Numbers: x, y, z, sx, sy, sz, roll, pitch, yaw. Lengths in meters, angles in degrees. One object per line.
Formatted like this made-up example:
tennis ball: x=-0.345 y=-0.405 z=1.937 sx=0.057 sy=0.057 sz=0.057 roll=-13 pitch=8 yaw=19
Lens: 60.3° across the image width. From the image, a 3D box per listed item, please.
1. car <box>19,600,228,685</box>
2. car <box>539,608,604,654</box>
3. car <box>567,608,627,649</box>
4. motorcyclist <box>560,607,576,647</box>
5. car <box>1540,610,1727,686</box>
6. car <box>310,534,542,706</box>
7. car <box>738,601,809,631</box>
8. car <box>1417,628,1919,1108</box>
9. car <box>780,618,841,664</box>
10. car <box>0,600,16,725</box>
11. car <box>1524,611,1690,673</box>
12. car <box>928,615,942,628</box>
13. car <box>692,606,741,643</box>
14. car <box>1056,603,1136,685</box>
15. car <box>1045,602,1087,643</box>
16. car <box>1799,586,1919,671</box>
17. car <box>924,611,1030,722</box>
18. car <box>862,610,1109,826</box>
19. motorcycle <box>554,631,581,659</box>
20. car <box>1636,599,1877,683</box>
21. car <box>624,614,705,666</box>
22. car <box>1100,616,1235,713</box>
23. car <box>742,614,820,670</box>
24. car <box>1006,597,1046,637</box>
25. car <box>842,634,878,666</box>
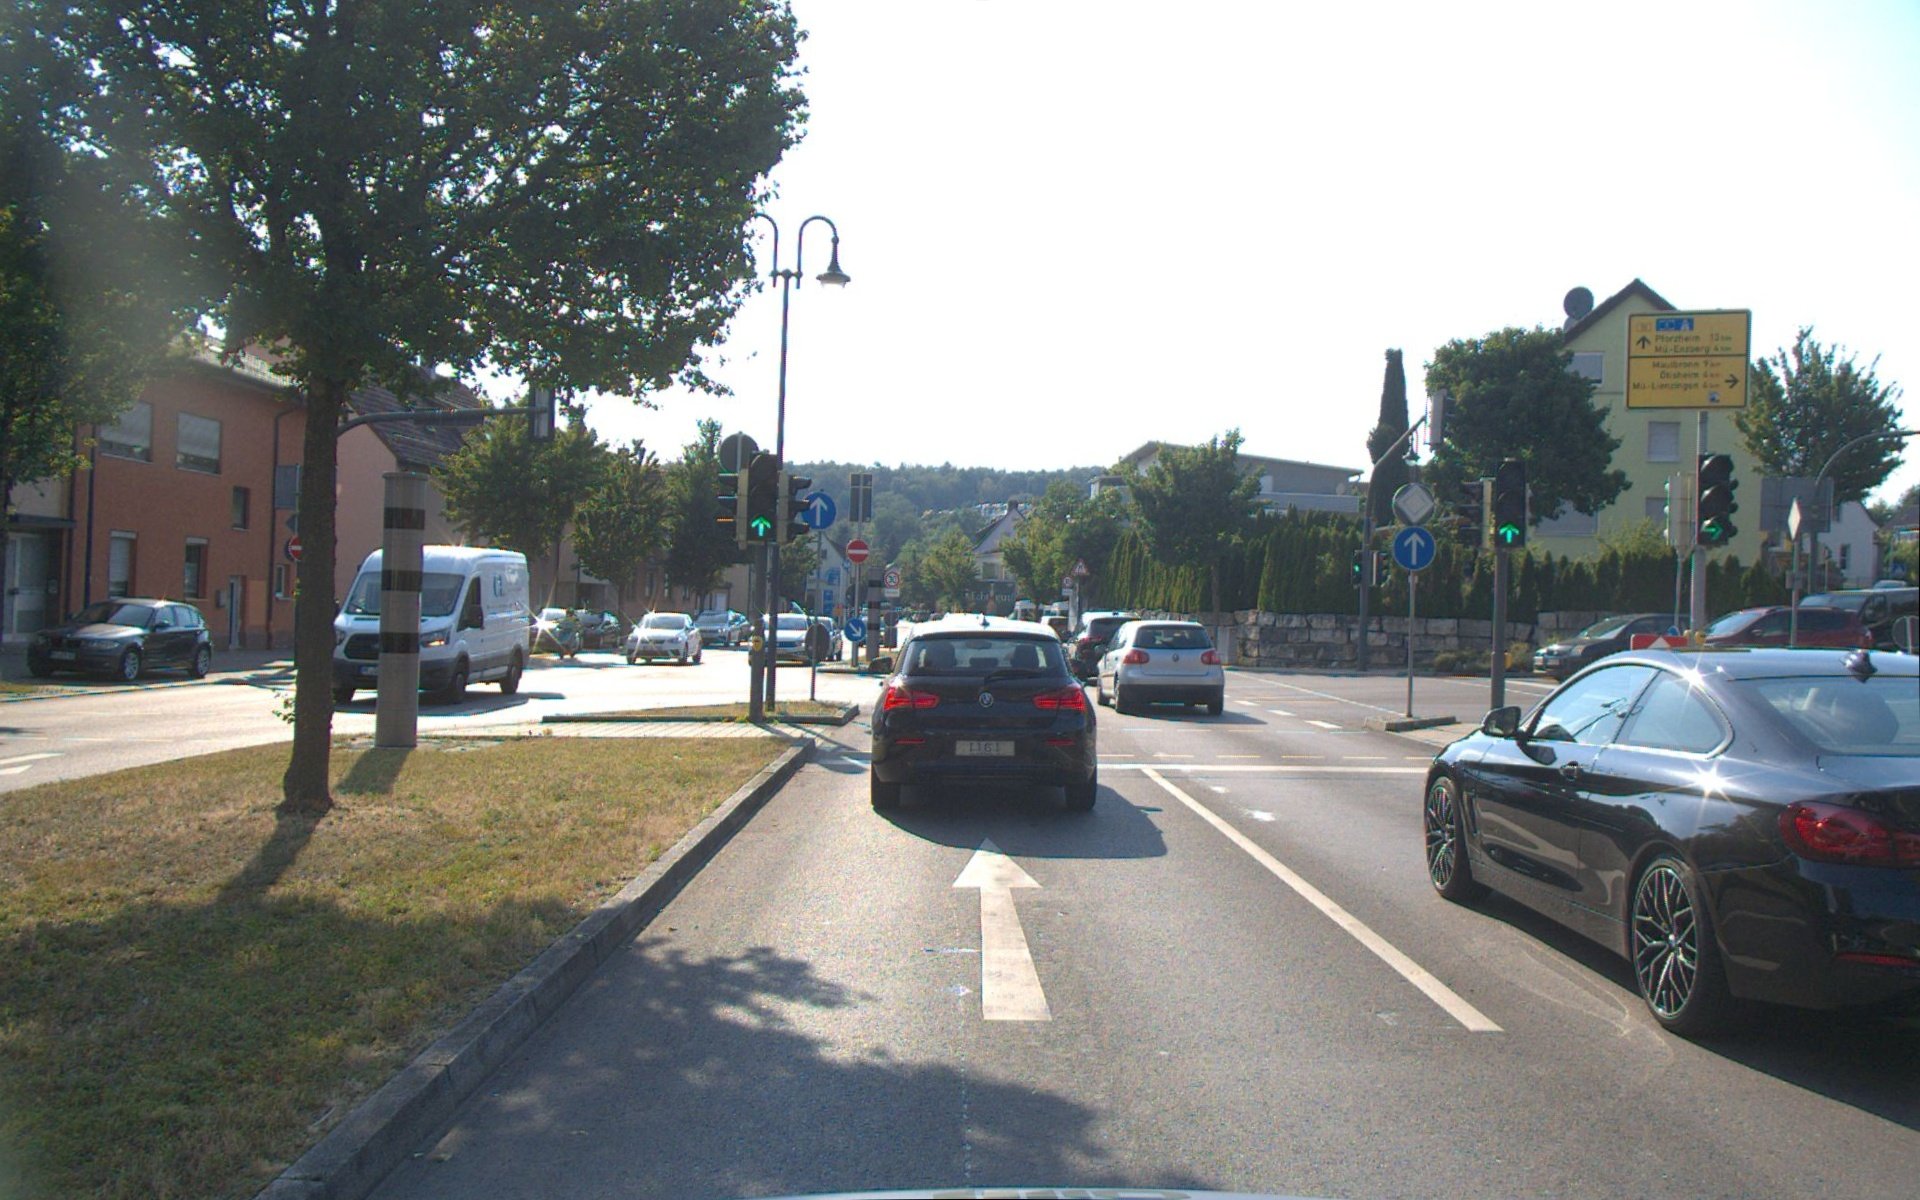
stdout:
car: x=-15.261 y=0.739 z=30.417 sx=1.759 sy=1.439 sz=3.941 roll=1 pitch=0 yaw=1
car: x=-14.099 y=1.113 z=60.186 sx=1.481 sy=1.537 sz=3.884 roll=3 pitch=0 yaw=-1
car: x=-14.477 y=1.121 z=66.064 sx=1.586 sy=1.537 sz=4.131 roll=1 pitch=0 yaw=-2
motorcyclist: x=-12.572 y=0.862 z=53.060 sx=0.395 sy=1.250 sz=0.462 roll=1 pitch=0 yaw=1
car: x=15.167 y=1.061 z=37.396 sx=3.706 sy=1.569 sz=1.600 roll=1 pitch=0 yaw=14
car: x=-8.617 y=0.311 z=27.273 sx=2.042 sy=2.519 sz=5.478 roll=1 pitch=0 yaw=-1
car: x=-16.421 y=1.405 z=145.773 sx=6.035 sy=2.487 sz=2.248 roll=2 pitch=0 yaw=-2
car: x=3.448 y=0.854 z=7.180 sx=1.665 sy=1.393 sz=4.261 roll=0 pitch=0 yaw=-1
car: x=-4.879 y=1.332 z=54.316 sx=1.556 sy=1.452 sz=3.579 roll=1 pitch=-1 yaw=2
car: x=-11.893 y=0.704 z=17.208 sx=1.656 sy=1.439 sz=4.214 roll=1 pitch=0 yaw=1
car: x=16.250 y=1.052 z=41.625 sx=3.527 sy=1.475 sz=1.625 roll=-1 pitch=-1 yaw=-5
car: x=-3.222 y=2.747 z=210.767 sx=1.565 sy=1.511 sz=3.472 roll=2 pitch=0 yaw=-3
car: x=-11.434 y=1.137 z=77.775 sx=1.651 sy=1.640 sz=4.412 roll=1 pitch=-1 yaw=-1
car: x=3.121 y=0.991 z=38.469 sx=1.570 sy=1.798 sz=3.411 roll=1 pitch=0 yaw=0
car: x=7.439 y=1.535 z=116.516 sx=2.069 sy=2.769 sz=6.438 roll=1 pitch=0 yaw=-4
car: x=22.821 y=0.686 z=40.416 sx=5.118 sy=1.966 sz=1.976 roll=1 pitch=0 yaw=-35
car: x=0.303 y=1.005 z=26.642 sx=1.559 sy=1.628 sz=3.894 roll=1 pitch=0 yaw=1
car: x=0.155 y=0.857 z=13.575 sx=1.735 sy=1.482 sz=3.515 roll=1 pitch=0 yaw=-1
motorcycle: x=-12.586 y=1.438 z=53.060 sx=0.404 sy=0.875 sz=1.763 roll=1 pitch=0 yaw=0
car: x=16.477 y=0.835 z=34.319 sx=4.157 sy=1.654 sz=1.860 roll=1 pitch=0 yaw=-7
car: x=-8.668 y=1.146 z=48.796 sx=1.721 sy=1.436 sz=3.999 roll=1 pitch=0 yaw=-1
car: x=3.342 y=1.013 z=27.197 sx=1.718 sy=1.439 sz=3.421 roll=1 pitch=0 yaw=-1
car: x=-5.215 y=1.190 z=48.621 sx=1.797 sy=1.514 sz=4.565 roll=1 pitch=0 yaw=-1
car: x=4.577 y=1.172 z=116.030 sx=2.107 sy=2.727 sz=6.598 roll=1 pitch=0 yaw=-4
car: x=-4.961 y=2.455 z=82.228 sx=1.500 sy=1.488 sz=3.506 roll=1 pitch=0 yaw=1
